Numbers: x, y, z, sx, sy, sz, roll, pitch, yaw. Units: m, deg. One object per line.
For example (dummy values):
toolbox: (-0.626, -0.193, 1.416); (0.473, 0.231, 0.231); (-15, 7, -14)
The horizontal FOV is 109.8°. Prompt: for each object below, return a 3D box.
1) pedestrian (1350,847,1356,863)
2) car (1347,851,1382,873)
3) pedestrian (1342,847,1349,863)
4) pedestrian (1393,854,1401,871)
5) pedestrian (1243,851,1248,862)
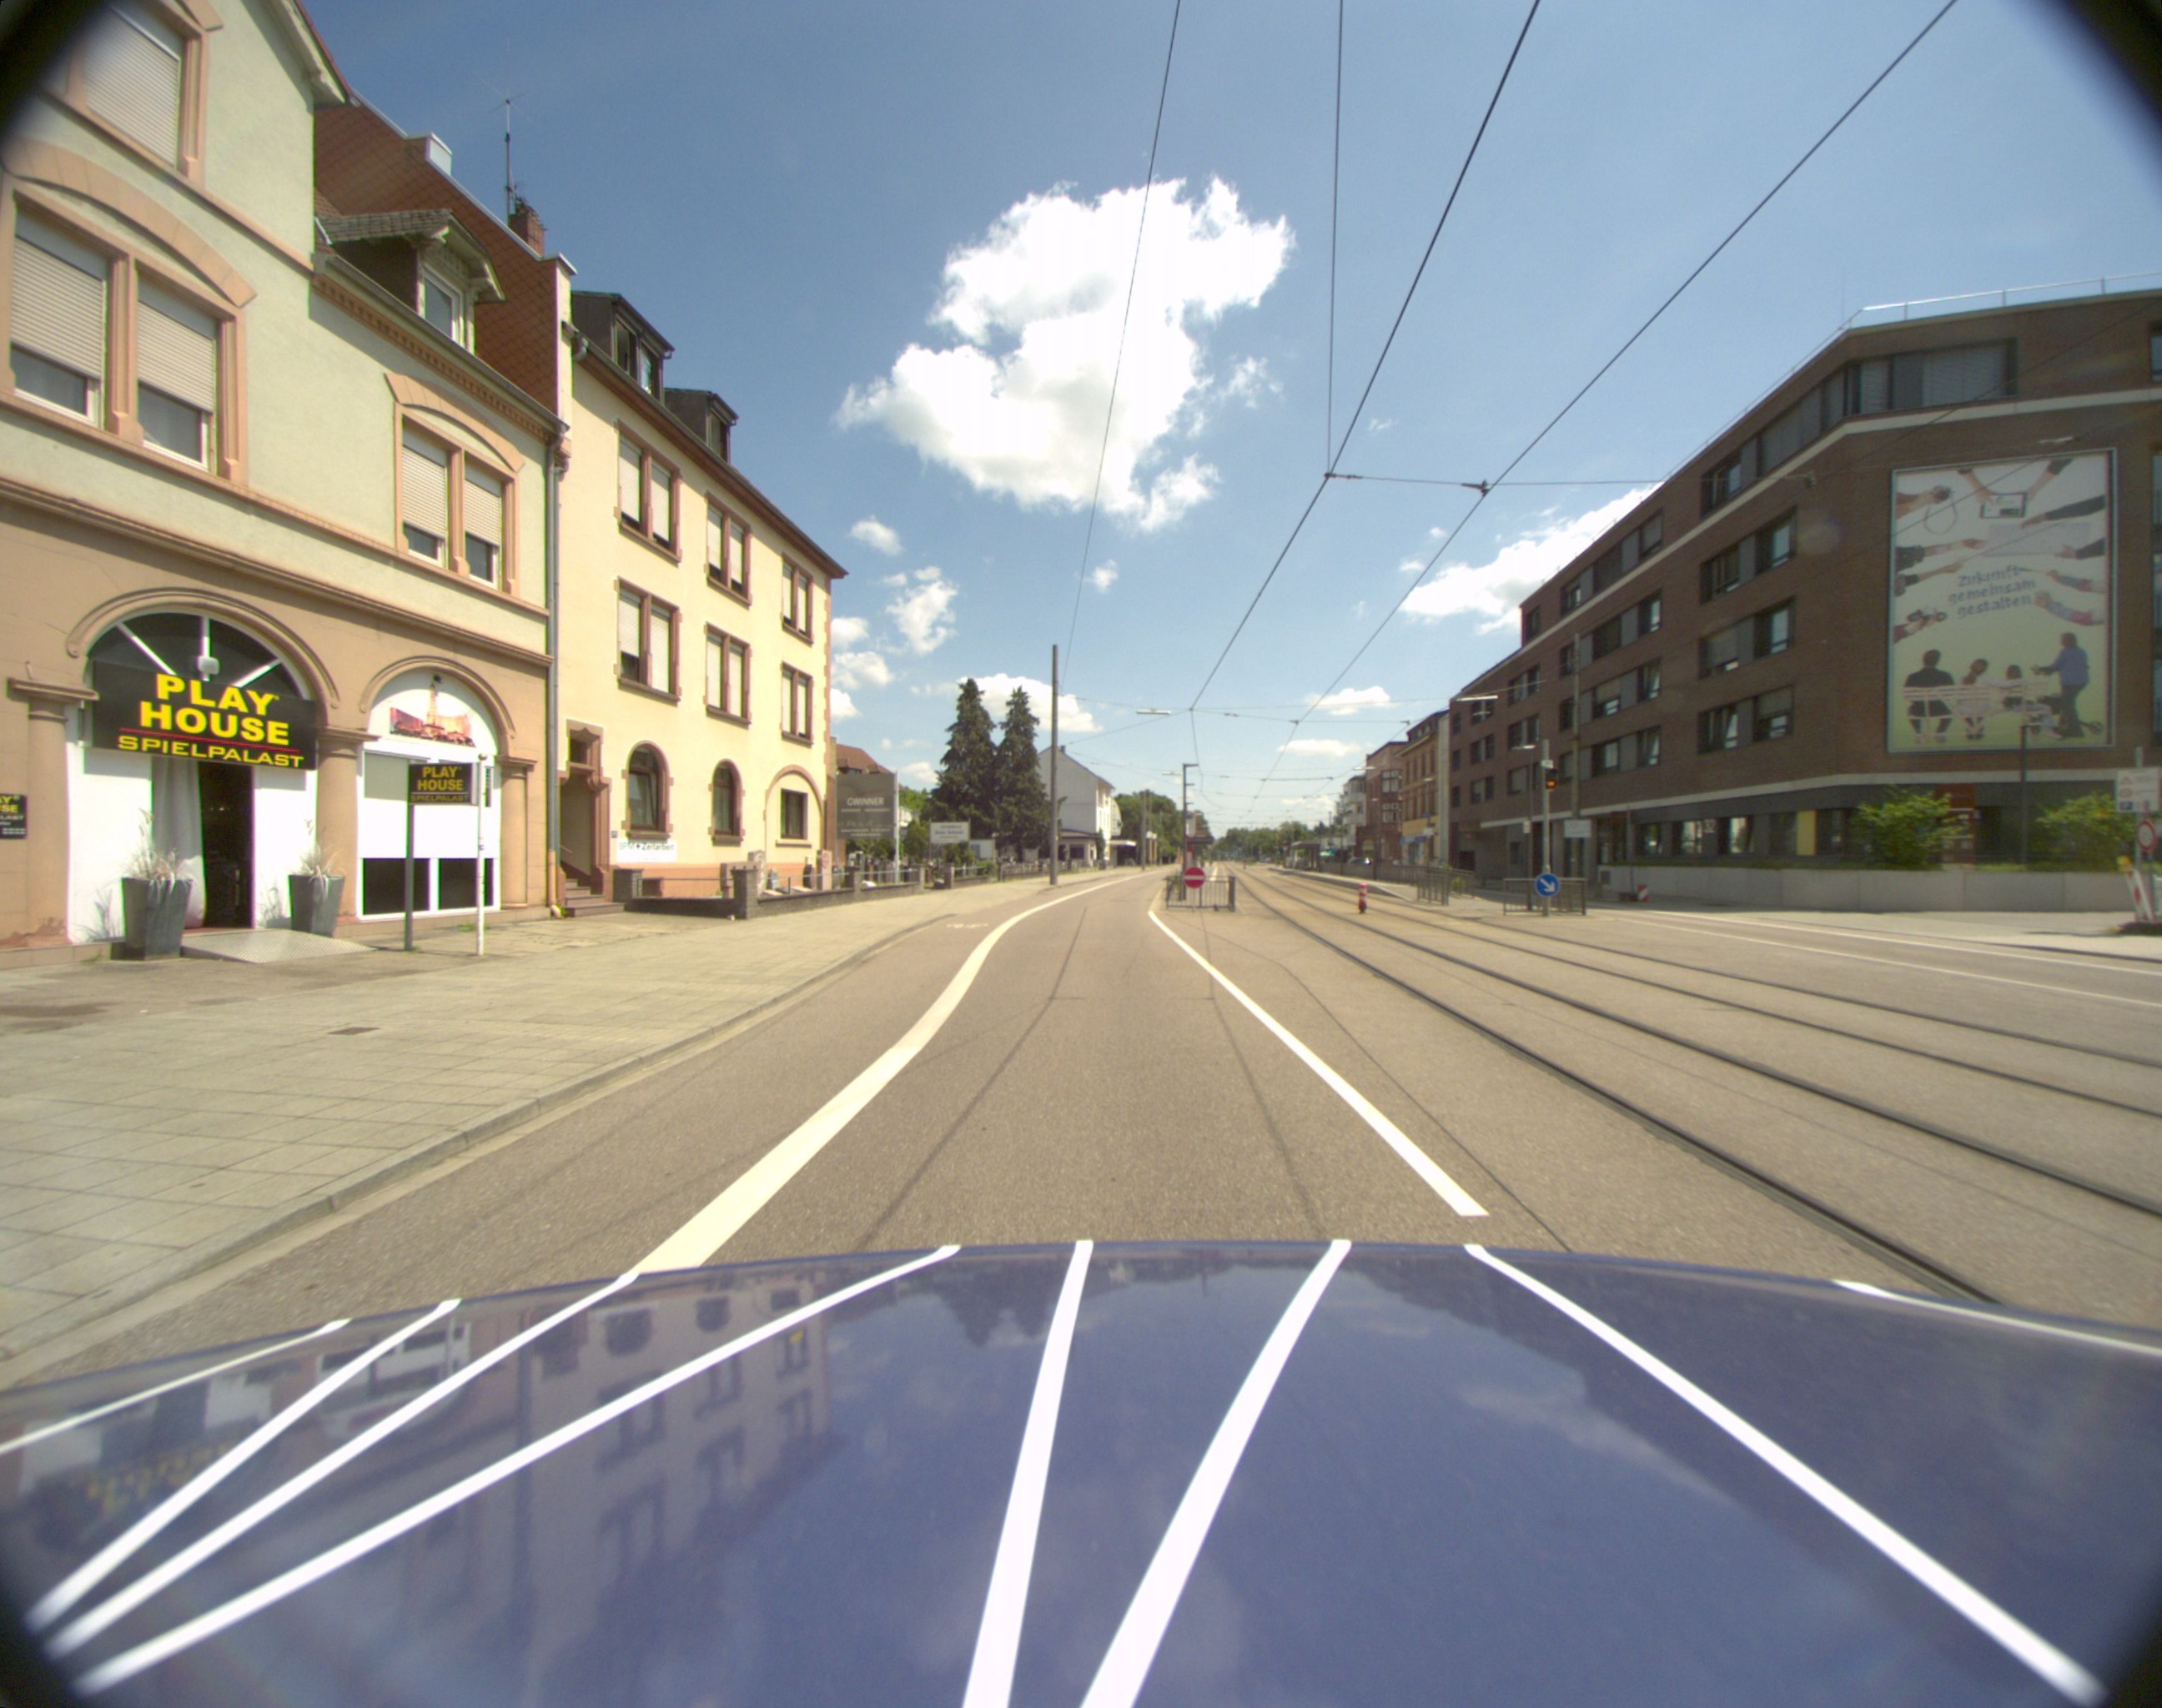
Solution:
pedestrian: (33.645, 0.151, 93.922); (0.618, 2.002, 0.811); (0, 1, 8)
car: (23.086, 0.615, 62.070); (1.840, 1.618, 3.774); (2, 1, 8)
pedestrian: (32.731, 0.115, 94.063); (0.678, 2.002, 0.685); (-1, 1, 8)
pedestrian: (24.891, 0.668, 59.783); (0.436, 1.376, 0.536); (2, 2, 10)
pedestrian: (24.062, 0.417, 111.315); (0.578, 1.547, 0.786); (2, 2, 14)
